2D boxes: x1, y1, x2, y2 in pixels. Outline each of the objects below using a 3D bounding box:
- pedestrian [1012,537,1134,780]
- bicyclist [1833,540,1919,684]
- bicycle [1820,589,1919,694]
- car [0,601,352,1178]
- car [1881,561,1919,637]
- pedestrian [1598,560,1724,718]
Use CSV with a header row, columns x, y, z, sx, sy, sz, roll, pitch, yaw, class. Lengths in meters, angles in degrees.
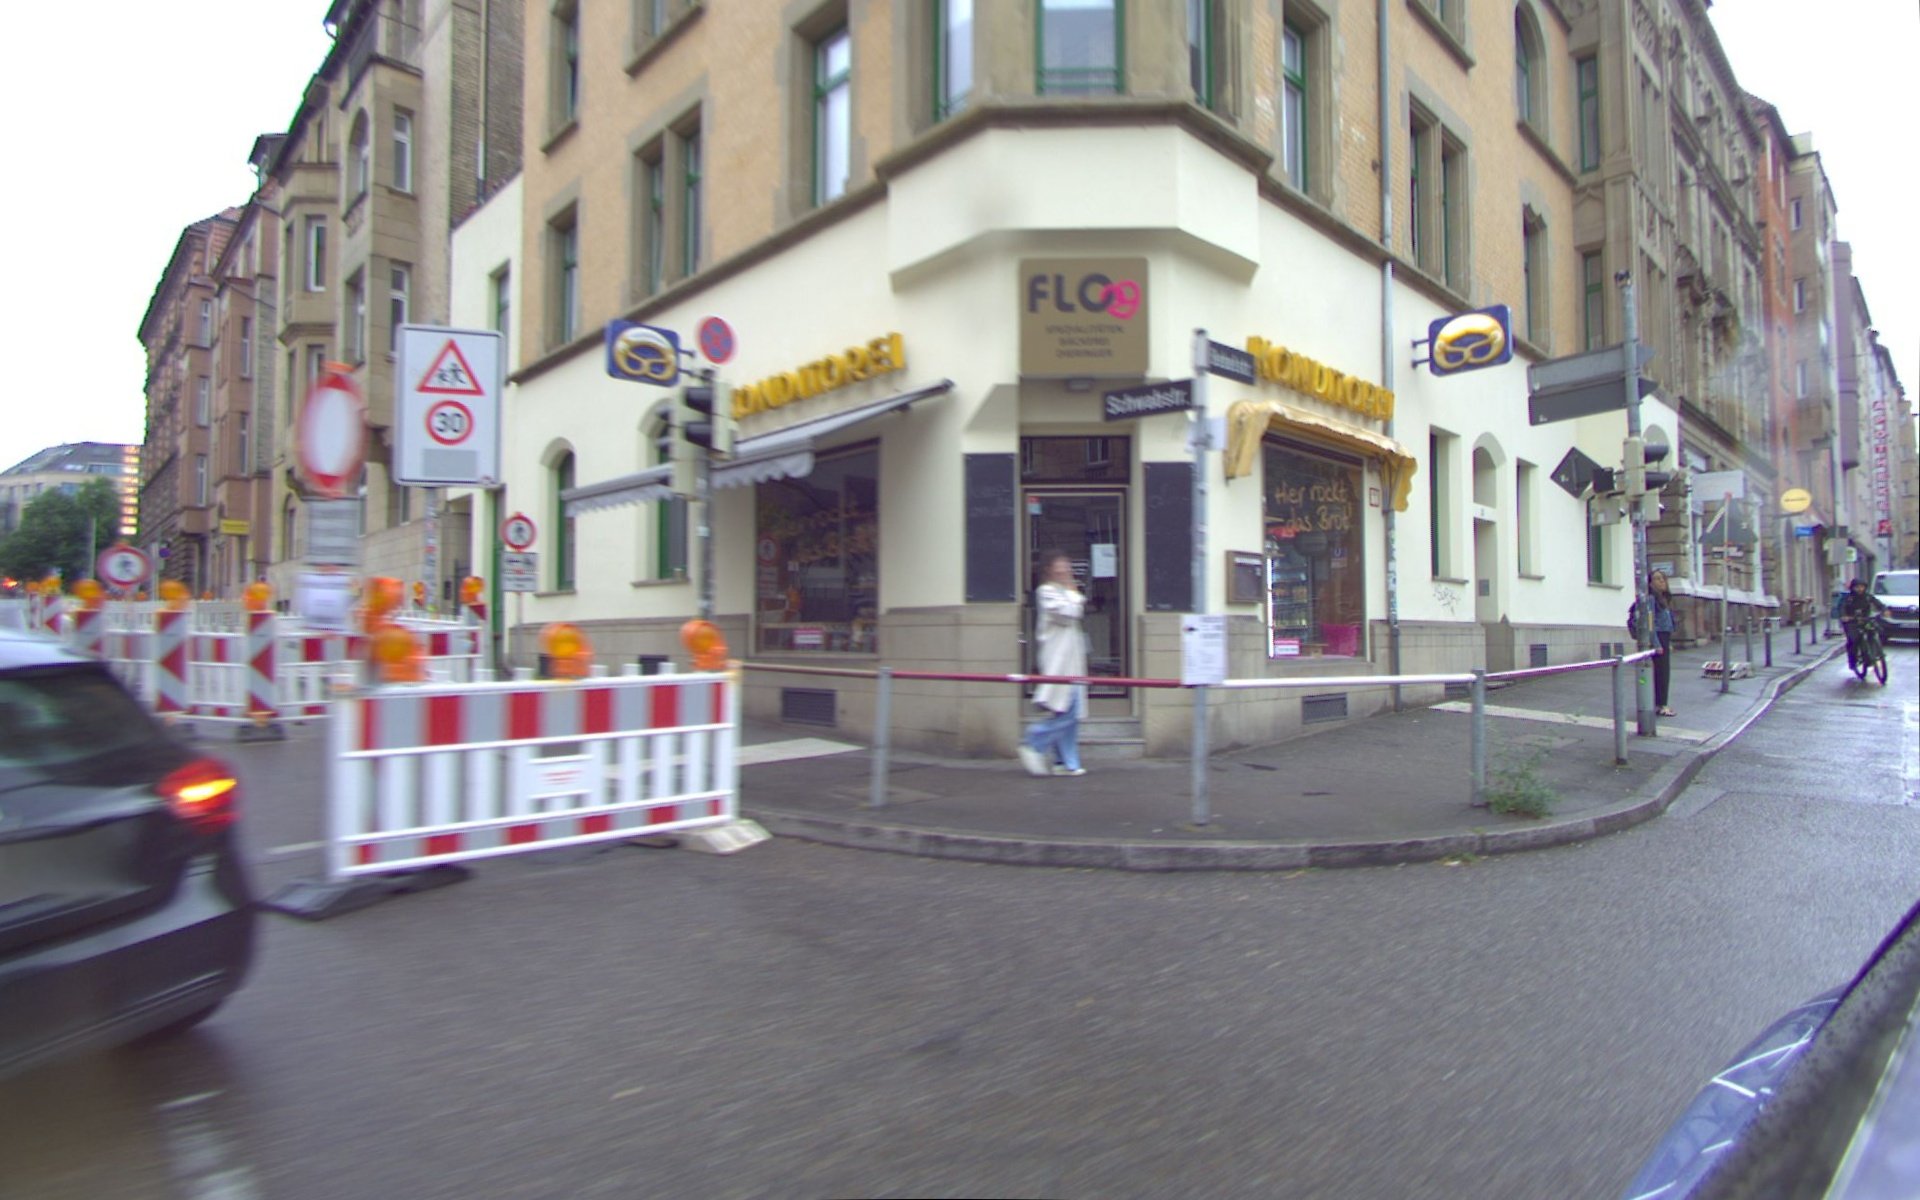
x,y,z,sx,sy,sz,roll,pitch,yaw,class
0.846,0.423,7.840,0.766,1.726,0.996,-2,0,1,pedestrian
15.292,0.183,16.880,1.266,2.292,0.919,-1,0,-43,bicyclist
15.149,0.629,16.808,3.082,1.574,0.935,-1,-1,-43,bicycle
-4.198,0.703,3.204,3.948,1.392,1.789,1,0,19,car
26.707,-0.110,27.606,5.891,1.928,1.822,-2,0,-43,car
8.250,0.408,11.918,0.915,1.741,1.018,-1,2,-43,pedestrian
